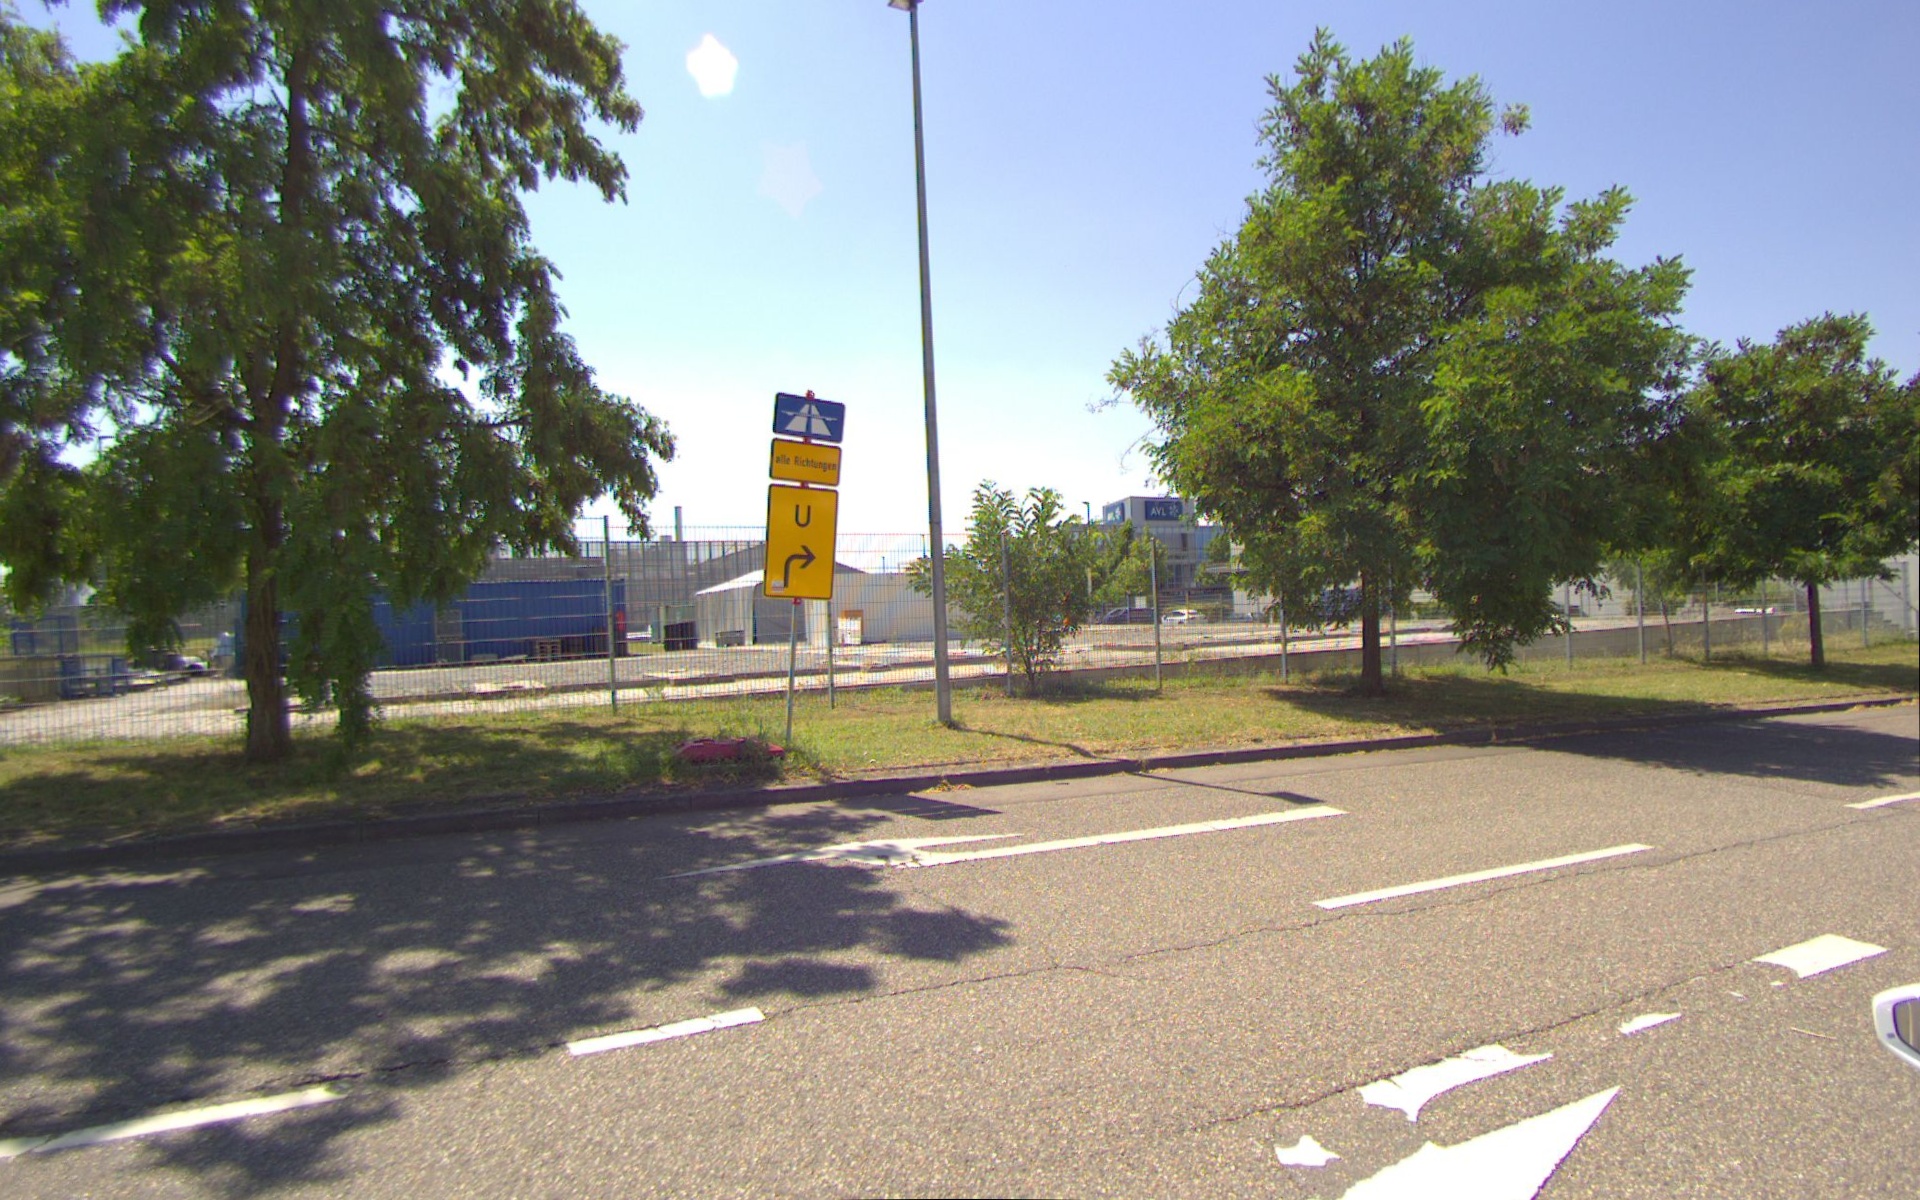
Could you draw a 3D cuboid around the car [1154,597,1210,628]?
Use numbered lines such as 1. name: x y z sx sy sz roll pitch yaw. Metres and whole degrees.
1. car: 16.037 0.863 72.710 1.945 2.040 3.975 -4 1 -25
